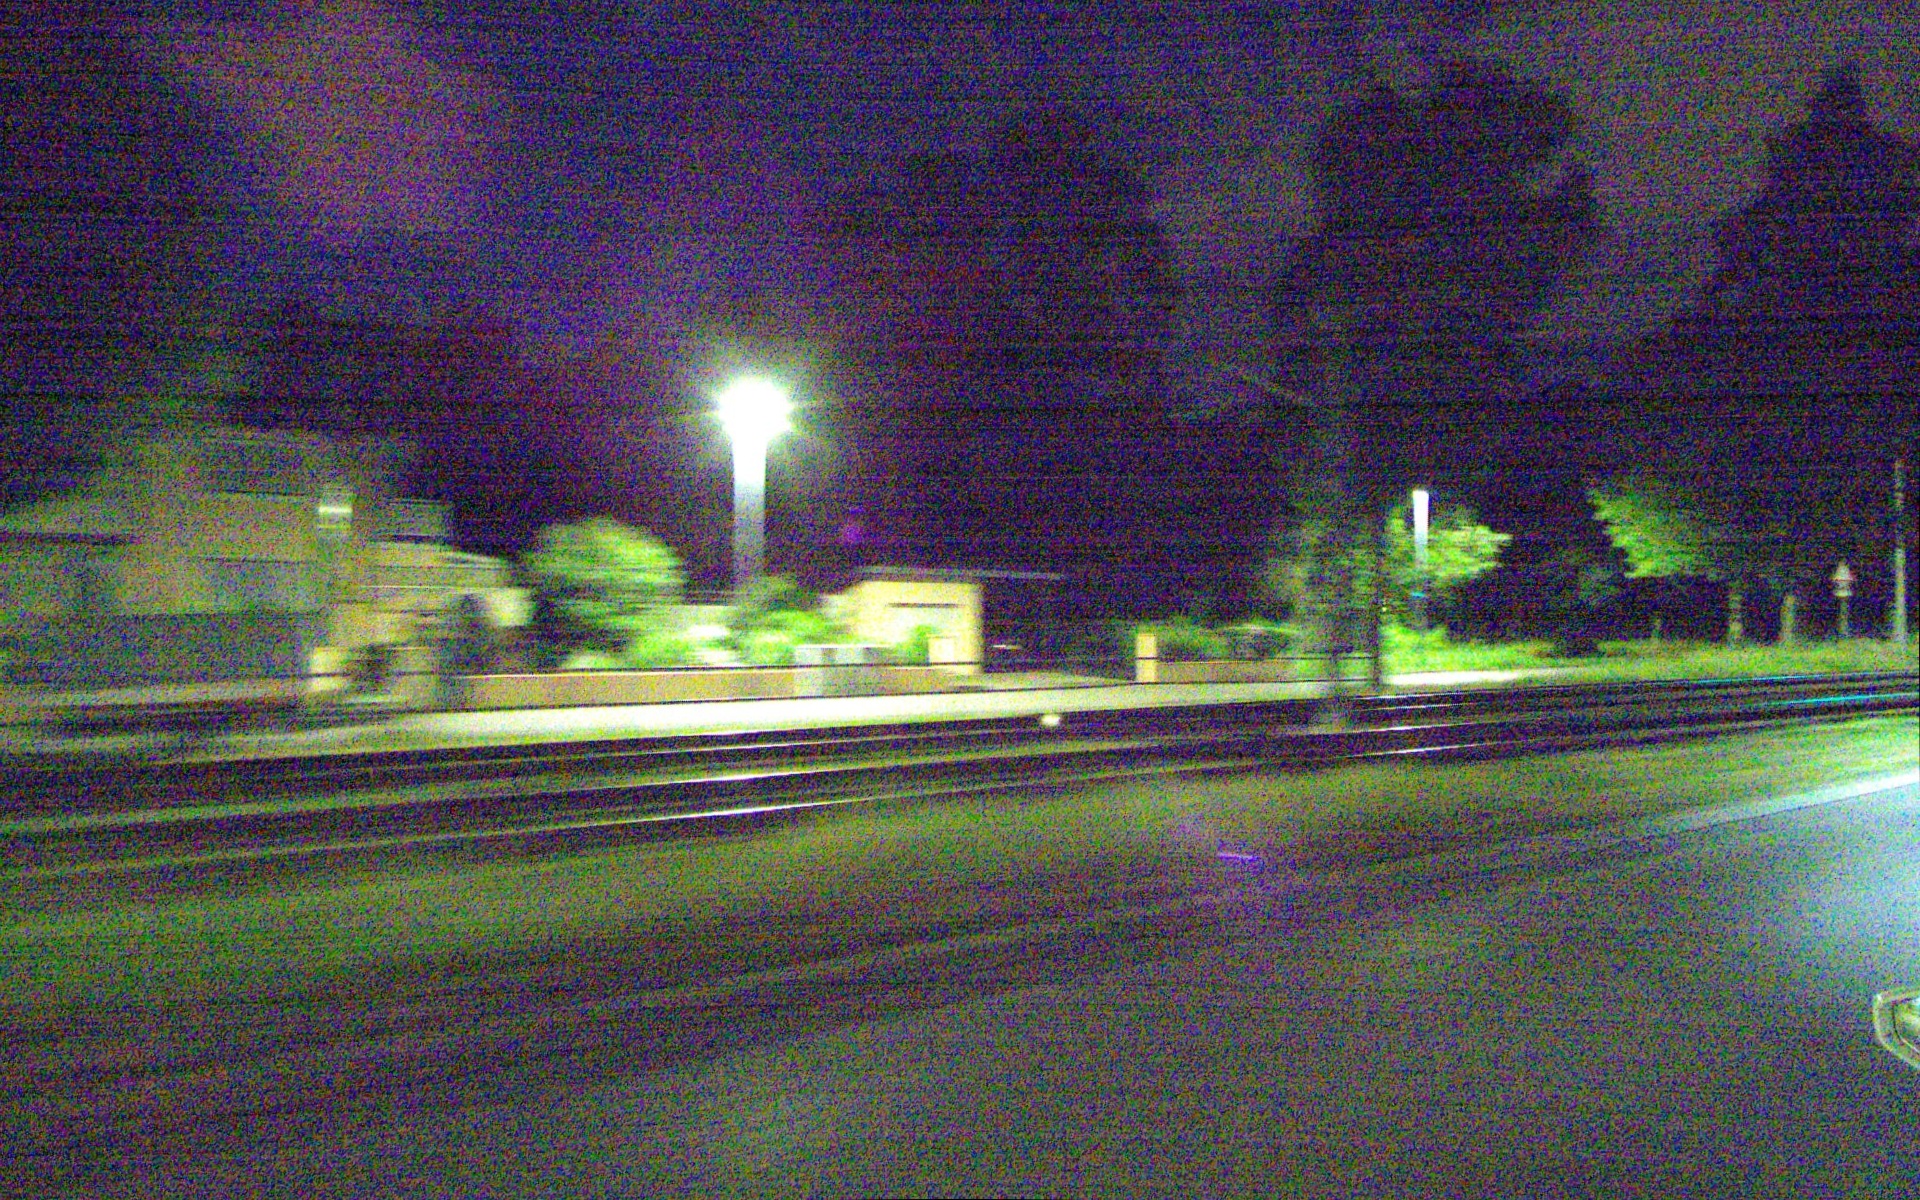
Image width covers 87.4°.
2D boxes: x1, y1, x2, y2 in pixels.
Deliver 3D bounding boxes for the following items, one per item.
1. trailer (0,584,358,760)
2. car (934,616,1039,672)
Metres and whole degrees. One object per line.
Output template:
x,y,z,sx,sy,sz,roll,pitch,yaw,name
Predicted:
-10.125,0.800,11.315,5.605,1.804,2.016,2,-4,-29,trailer
0.789,1.405,32.976,1.735,1.630,3.972,2,-1,-27,car
